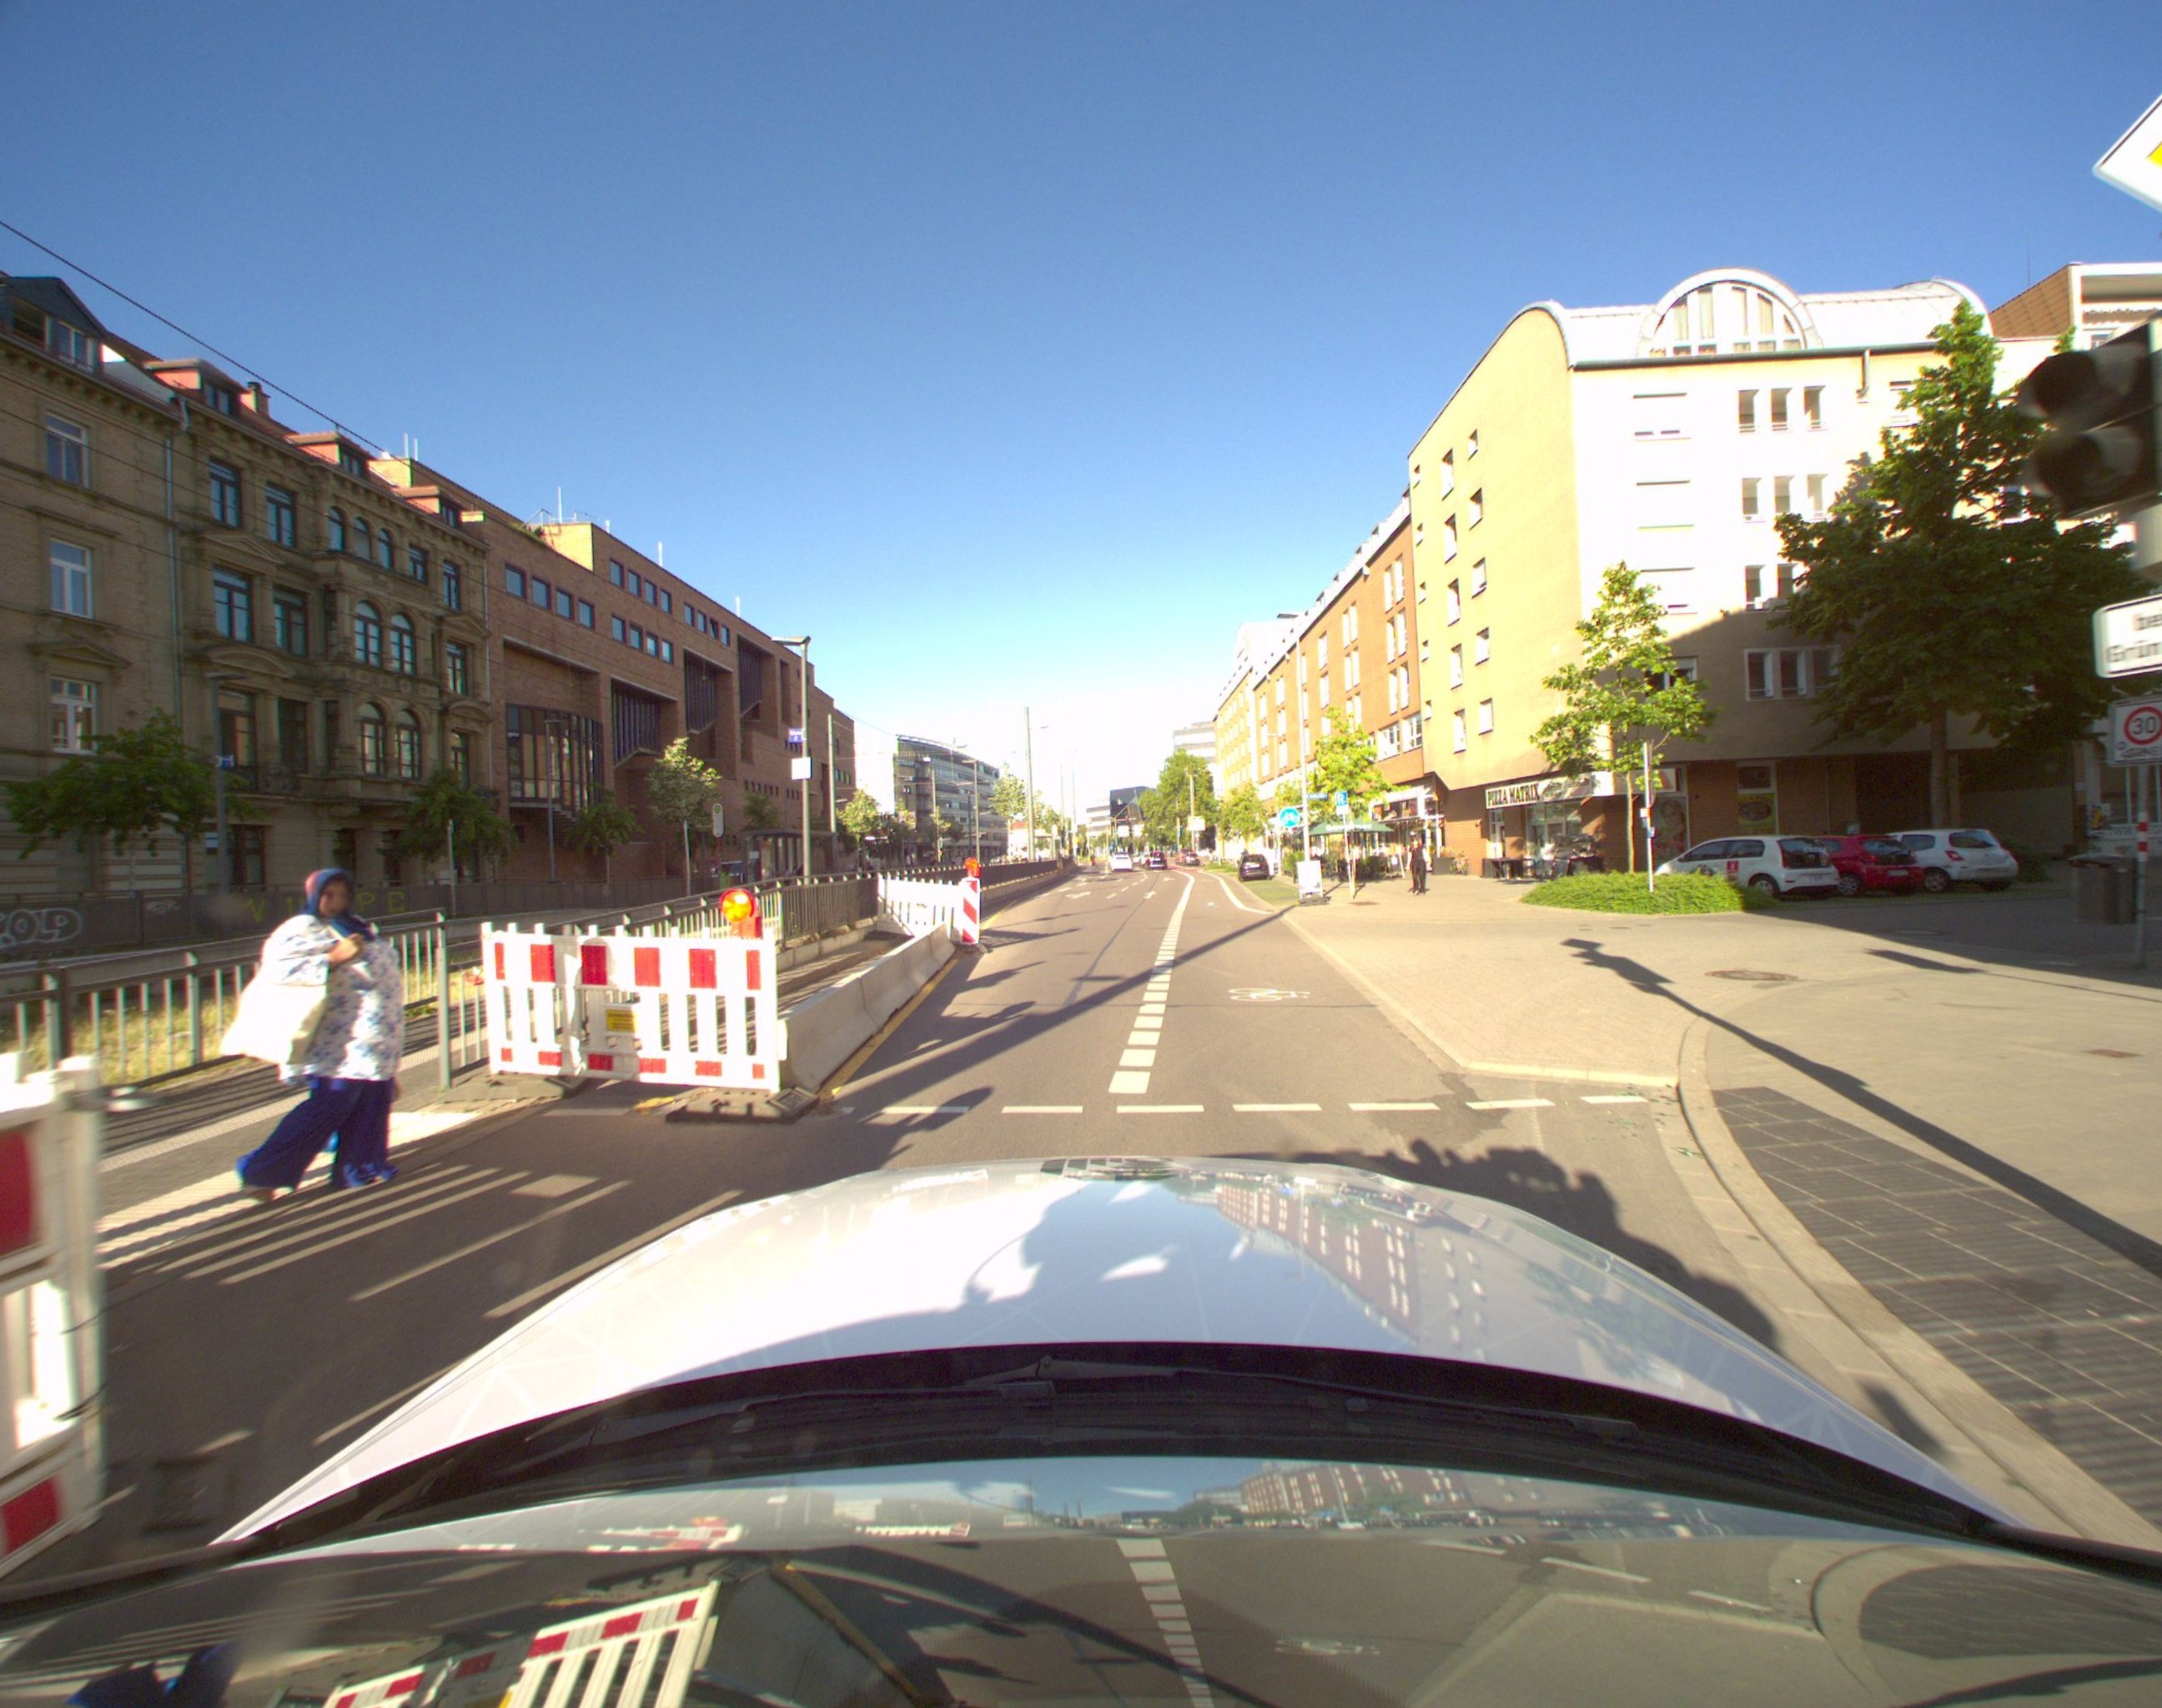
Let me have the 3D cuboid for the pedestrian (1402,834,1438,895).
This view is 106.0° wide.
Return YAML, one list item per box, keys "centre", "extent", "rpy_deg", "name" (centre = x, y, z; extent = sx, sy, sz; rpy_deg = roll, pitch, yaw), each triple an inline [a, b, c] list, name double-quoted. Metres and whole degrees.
- centre: [10.305, 0.302, 24.766]
  extent: [0.876, 1.763, 1.111]
  rpy_deg: [-4, -1, 22]
  name: "pedestrian"

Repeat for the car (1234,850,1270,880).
- centre: [10.105, 0.611, 48.320]
  extent: [1.711, 1.636, 4.241]
  rpy_deg: [-3, 0, 8]
  name: "car"

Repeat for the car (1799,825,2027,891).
- centre: [20.100, 0.083, 19.915]
  extent: [1.629, 1.455, 3.728]
  rpy_deg: [0, 0, -5]
  name: "car"

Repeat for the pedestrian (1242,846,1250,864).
- centre: [17.464, 0.117, 86.070]
  extent: [0.604, 1.821, 0.748]
  rpy_deg: [-2, -1, 1]
  name: "pedestrian"

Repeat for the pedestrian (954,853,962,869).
- centre: [-12.197, 0.697, 80.560]
  extent: [0.638, 1.608, 0.946]
  rpy_deg: [0, 0, 2]
  name: "pedestrian"

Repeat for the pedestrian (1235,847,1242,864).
- centre: [16.637, 0.179, 86.035]
  extent: [0.604, 1.821, 0.748]
  rpy_deg: [-2, -1, 1]
  name: "pedestrian"

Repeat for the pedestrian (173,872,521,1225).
- centre: [-3.476, 0.843, 3.971]
  extent: [0.787, 1.457, 0.946]
  rpy_deg: [-2, 0, -1]
  name: "pedestrian"

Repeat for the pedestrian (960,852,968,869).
- centre: [-11.545, 0.643, 80.544]
  extent: [0.638, 1.643, 0.946]
  rpy_deg: [0, 0, 2]
  name: "pedestrian"

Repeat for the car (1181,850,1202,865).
- centre: [12.109, 0.363, 89.475]
  extent: [1.839, 1.560, 4.635]
  rpy_deg: [0, 0, 2]
  name: "car"

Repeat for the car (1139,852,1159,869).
- centre: [7.042, 0.636, 84.795]
  extent: [1.844, 1.639, 4.380]
  rpy_deg: [-2, 0, 2]
  name: "car"

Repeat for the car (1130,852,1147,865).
- centre: [7.197, 0.544, 102.248]
  extent: [1.844, 1.497, 4.381]
  rpy_deg: [-1, 0, 2]
  name: "car"

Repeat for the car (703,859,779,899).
- centre: [-17.225, 1.226, 41.576]
  extent: [1.988, 1.880, 4.580]
  rpy_deg: [-2, 0, -2]
  name: "car"

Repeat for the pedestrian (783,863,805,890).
- centre: [-13.536, 1.052, 38.419]
  extent: [0.718, 1.168, 0.722]
  rpy_deg: [-4, 0, 2]
  name: "pedestrian"

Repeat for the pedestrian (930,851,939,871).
- centre: [-12.339, 0.564, 68.642]
  extent: [0.638, 1.696, 0.541]
  rpy_deg: [0, 0, 2]
  name: "pedestrian"

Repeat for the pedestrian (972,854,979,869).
- centre: [-13.031, 0.887, 100.491]
  extent: [0.611, 1.817, 0.897]
  rpy_deg: [-1, 0, 2]
  name: "pedestrian"

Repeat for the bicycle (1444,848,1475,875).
- centre: [17.134, 0.334, 36.917]
  extent: [0.612, 1.169, 1.536]
  rpy_deg: [-4, 0, -1]
  name: "bicycle"

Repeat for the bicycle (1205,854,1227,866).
- centre: [12.885, 0.579, 77.773]
  extent: [1.929, 1.022, 0.504]
  rpy_deg: [-3, -1, 19]
  name: "bicycle"

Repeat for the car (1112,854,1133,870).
- centre: [3.616, 0.685, 71.910]
  extent: [1.774, 1.414, 4.820]
  rpy_deg: [0, 0, 2]
  name: "car"

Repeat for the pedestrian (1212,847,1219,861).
- centre: [17.227, -0.016, 104.274]
  extent: [0.604, 1.821, 0.748]
  rpy_deg: [-2, -1, 1]
  name: "pedestrian"

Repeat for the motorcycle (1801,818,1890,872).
- centre: [24.393, -0.292, 26.009]
  extent: [2.252, 1.607, 0.652]
  rpy_deg: [-2, 0, -2]
  name: "motorcycle"

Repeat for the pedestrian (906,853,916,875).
- centre: [-13.631, 0.806, 65.245]
  extent: [0.620, 1.714, 0.616]
  rpy_deg: [-1, 0, 2]
  name: "pedestrian"

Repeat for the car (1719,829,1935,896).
- centre: [17.720, 0.183, 19.596]
  extent: [1.631, 1.453, 3.646]
  rpy_deg: [0, 0, -8]
  name: "car"

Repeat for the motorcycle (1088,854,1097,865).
- centre: [1.428, 0.620, 97.652]
  extent: [1.015, 1.312, 2.916]
  rpy_deg: [0, 0, 2]
  name: "motorcycle"

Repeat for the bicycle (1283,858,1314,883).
- centre: [10.235, 0.770, 38.378]
  extent: [0.763, 1.081, 1.996]
  rpy_deg: [-7, -1, -2]
  name: "bicycle"

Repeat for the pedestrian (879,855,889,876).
- centre: [-13.733, 0.823, 56.842]
  extent: [0.537, 1.459, 0.643]
  rpy_deg: [0, 0, 2]
  name: "pedestrian"

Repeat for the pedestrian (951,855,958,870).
- centre: [-13.603, 0.907, 87.711]
  extent: [0.561, 1.609, 0.616]
  rpy_deg: [-1, 0, 2]
  name: "pedestrian"

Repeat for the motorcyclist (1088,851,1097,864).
- centre: [1.422, 0.416, 97.673]
  extent: [1.015, 1.603, 1.149]
  rpy_deg: [0, 0, 2]
  name: "motorcyclist"

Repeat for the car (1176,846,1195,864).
- centre: [12.276, 0.100, 96.036]
  extent: [1.852, 1.961, 4.003]
  rpy_deg: [-2, 0, 3]
  name: "car"

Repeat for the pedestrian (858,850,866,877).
- centre: [-13.792, 0.603, 51.376]
  extent: [0.376, 1.648, 0.416]
  rpy_deg: [0, 0, 2]
  name: "pedestrian"

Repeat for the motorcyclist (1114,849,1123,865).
- centre: [3.739, 0.286, 80.654]
  extent: [0.834, 1.475, 1.236]
  rpy_deg: [-2, 0, 0]
  name: "motorcyclist"

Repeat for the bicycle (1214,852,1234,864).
- centre: [14.352, 0.432, 81.872]
  extent: [1.931, 1.074, 0.628]
  rpy_deg: [-3, -1, 13]
  name: "bicycle"

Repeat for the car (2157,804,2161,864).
- centre: [13.163, 0.167, 7.007]
  extent: [1.690, 1.687, 4.429]
  rpy_deg: [0, -3, -6]
  name: "car"

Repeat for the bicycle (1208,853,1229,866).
- centre: [13.302, 0.527, 78.989]
  extent: [1.932, 1.075, 0.556]
  rpy_deg: [-3, -1, 12]
  name: "bicycle"

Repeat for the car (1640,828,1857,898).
- centre: [15.486, 0.181, 19.173]
  extent: [1.662, 1.474, 3.824]
  rpy_deg: [0, 0, -10]
  name: "car"

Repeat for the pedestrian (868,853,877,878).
- centre: [-13.821, 0.746, 53.991]
  extent: [0.376, 1.621, 0.553]
  rpy_deg: [0, 0, 2]
  name: "pedestrian"

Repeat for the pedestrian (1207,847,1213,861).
- centre: [16.882, -0.020, 106.559]
  extent: [0.604, 1.821, 0.748]
  rpy_deg: [-2, -1, 1]
  name: "pedestrian"

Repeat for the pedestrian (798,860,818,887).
- centre: [-13.564, 0.973, 40.460]
  extent: [0.643, 1.309, 0.722]
  rpy_deg: [-4, 0, 2]
  name: "pedestrian"

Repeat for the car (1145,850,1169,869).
- centre: [7.168, 0.474, 77.274]
  extent: [1.967, 1.759, 4.635]
  rpy_deg: [0, 0, 2]
  name: "car"

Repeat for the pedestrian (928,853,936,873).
- centre: [-13.216, 0.793, 72.224]
  extent: [0.579, 1.738, 0.616]
  rpy_deg: [-1, 0, 2]
  name: "pedestrian"

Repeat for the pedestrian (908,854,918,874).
- centre: [-13.613, 0.806, 65.869]
  extent: [0.620, 1.612, 0.616]
  rpy_deg: [-1, 0, 2]
  name: "pedestrian"
